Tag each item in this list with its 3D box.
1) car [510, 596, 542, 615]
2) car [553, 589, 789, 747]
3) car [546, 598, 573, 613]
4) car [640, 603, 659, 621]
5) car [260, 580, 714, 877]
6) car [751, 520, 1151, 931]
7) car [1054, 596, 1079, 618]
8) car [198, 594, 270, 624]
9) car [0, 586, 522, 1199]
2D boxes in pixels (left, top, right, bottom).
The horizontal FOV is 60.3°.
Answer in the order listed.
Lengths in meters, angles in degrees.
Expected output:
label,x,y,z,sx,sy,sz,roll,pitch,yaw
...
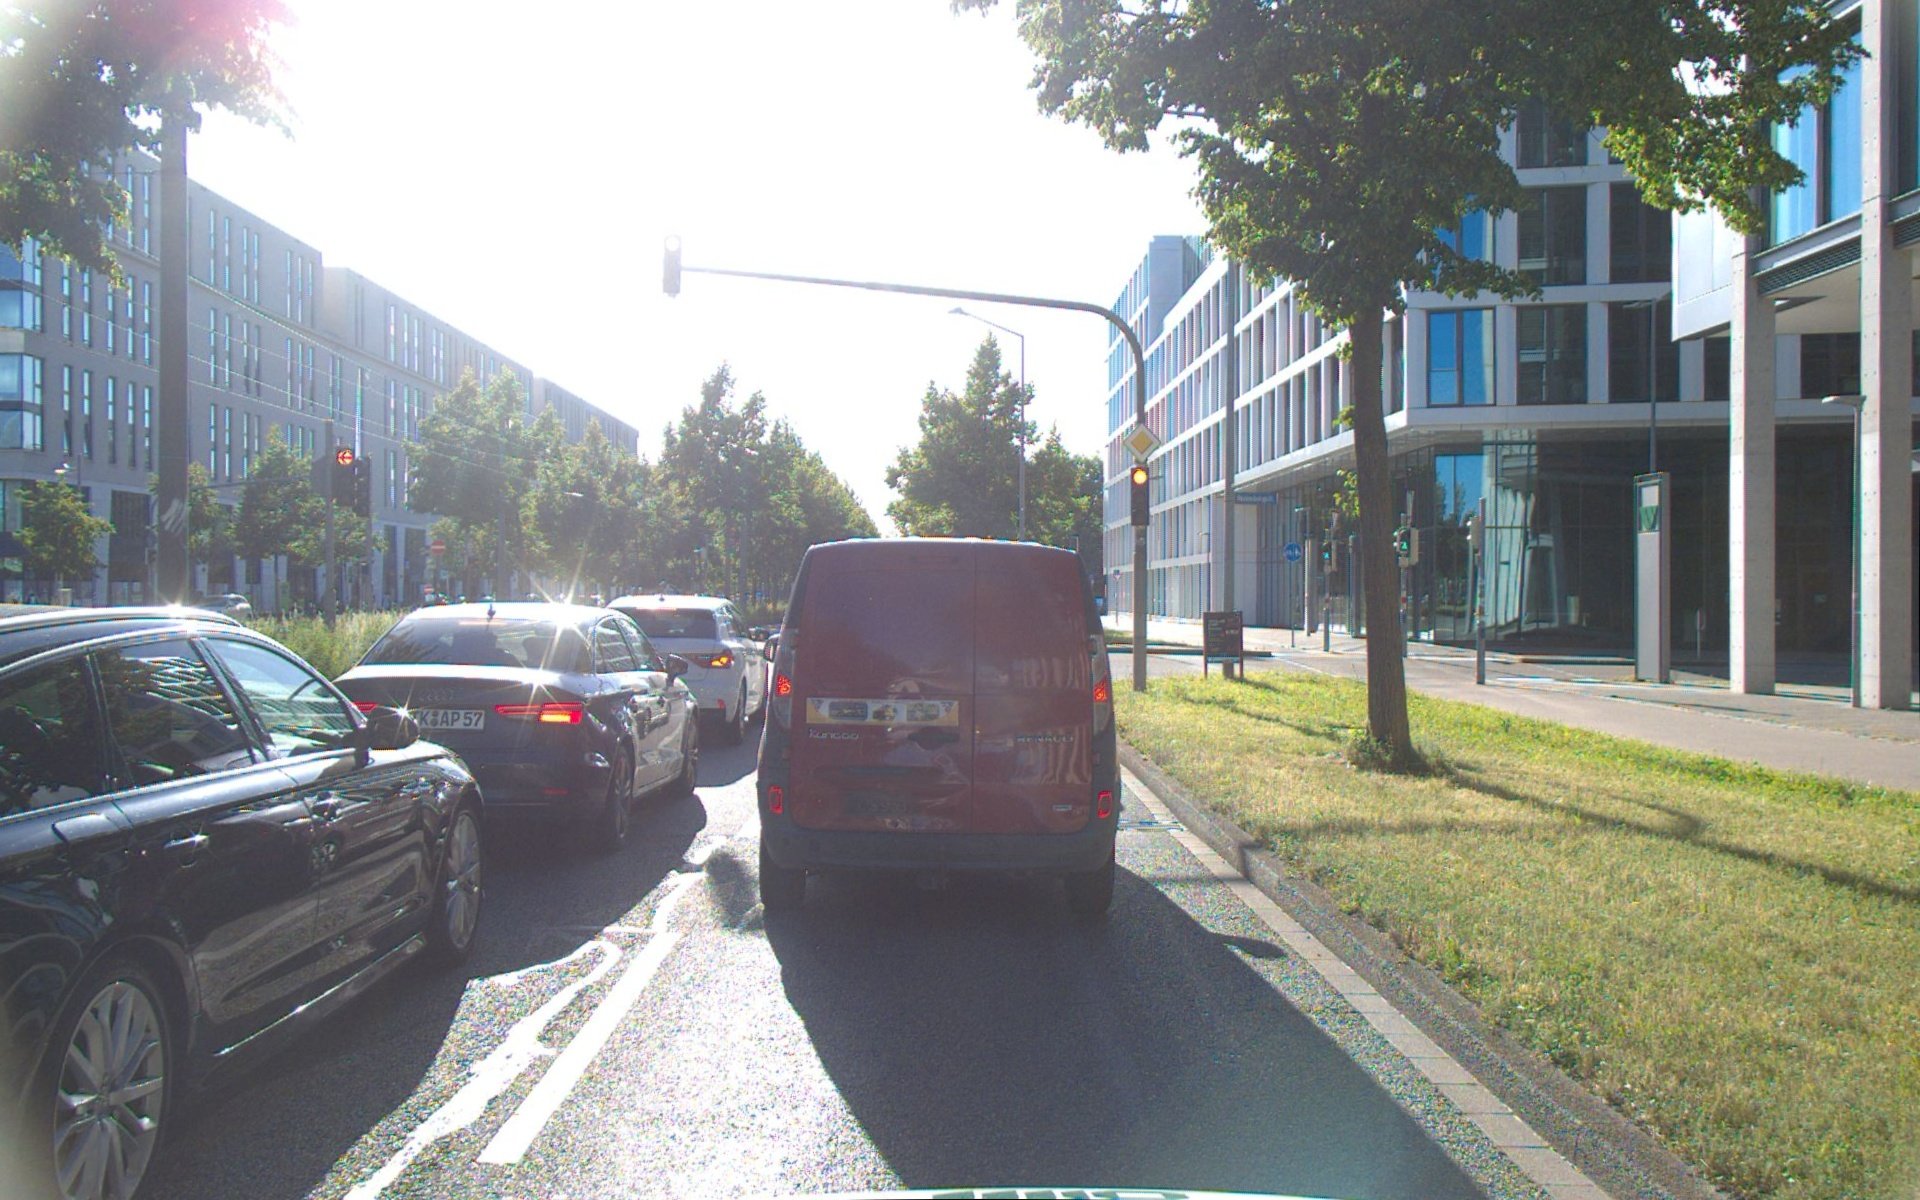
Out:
label,x,y,z,sx,sy,sz,roll,pitch,yaw
car,-35.534,0.466,135.562,1.740,1.555,3.805,0,0,-1
car,-2.907,0.624,17.459,1.771,1.460,4.113,0,0,0
car,-35.991,0.493,148.742,1.548,1.366,3.711,0,0,-1
car,-37.207,1.419,198.385,1.694,2.049,3.998,0,1,-3
car,-2.792,0.665,10.748,1.771,1.554,4.112,0,0,0
car,-0.040,0.549,9.413,1.771,1.825,4.113,0,0,0
car,8.207,0.518,127.993,1.722,1.640,3.903,0,0,0
car,-34.599,0.415,78.959,1.548,1.366,4.470,0,0,-1
car,-2.733,0.703,4.834,1.771,1.482,4.507,0,0,-1
